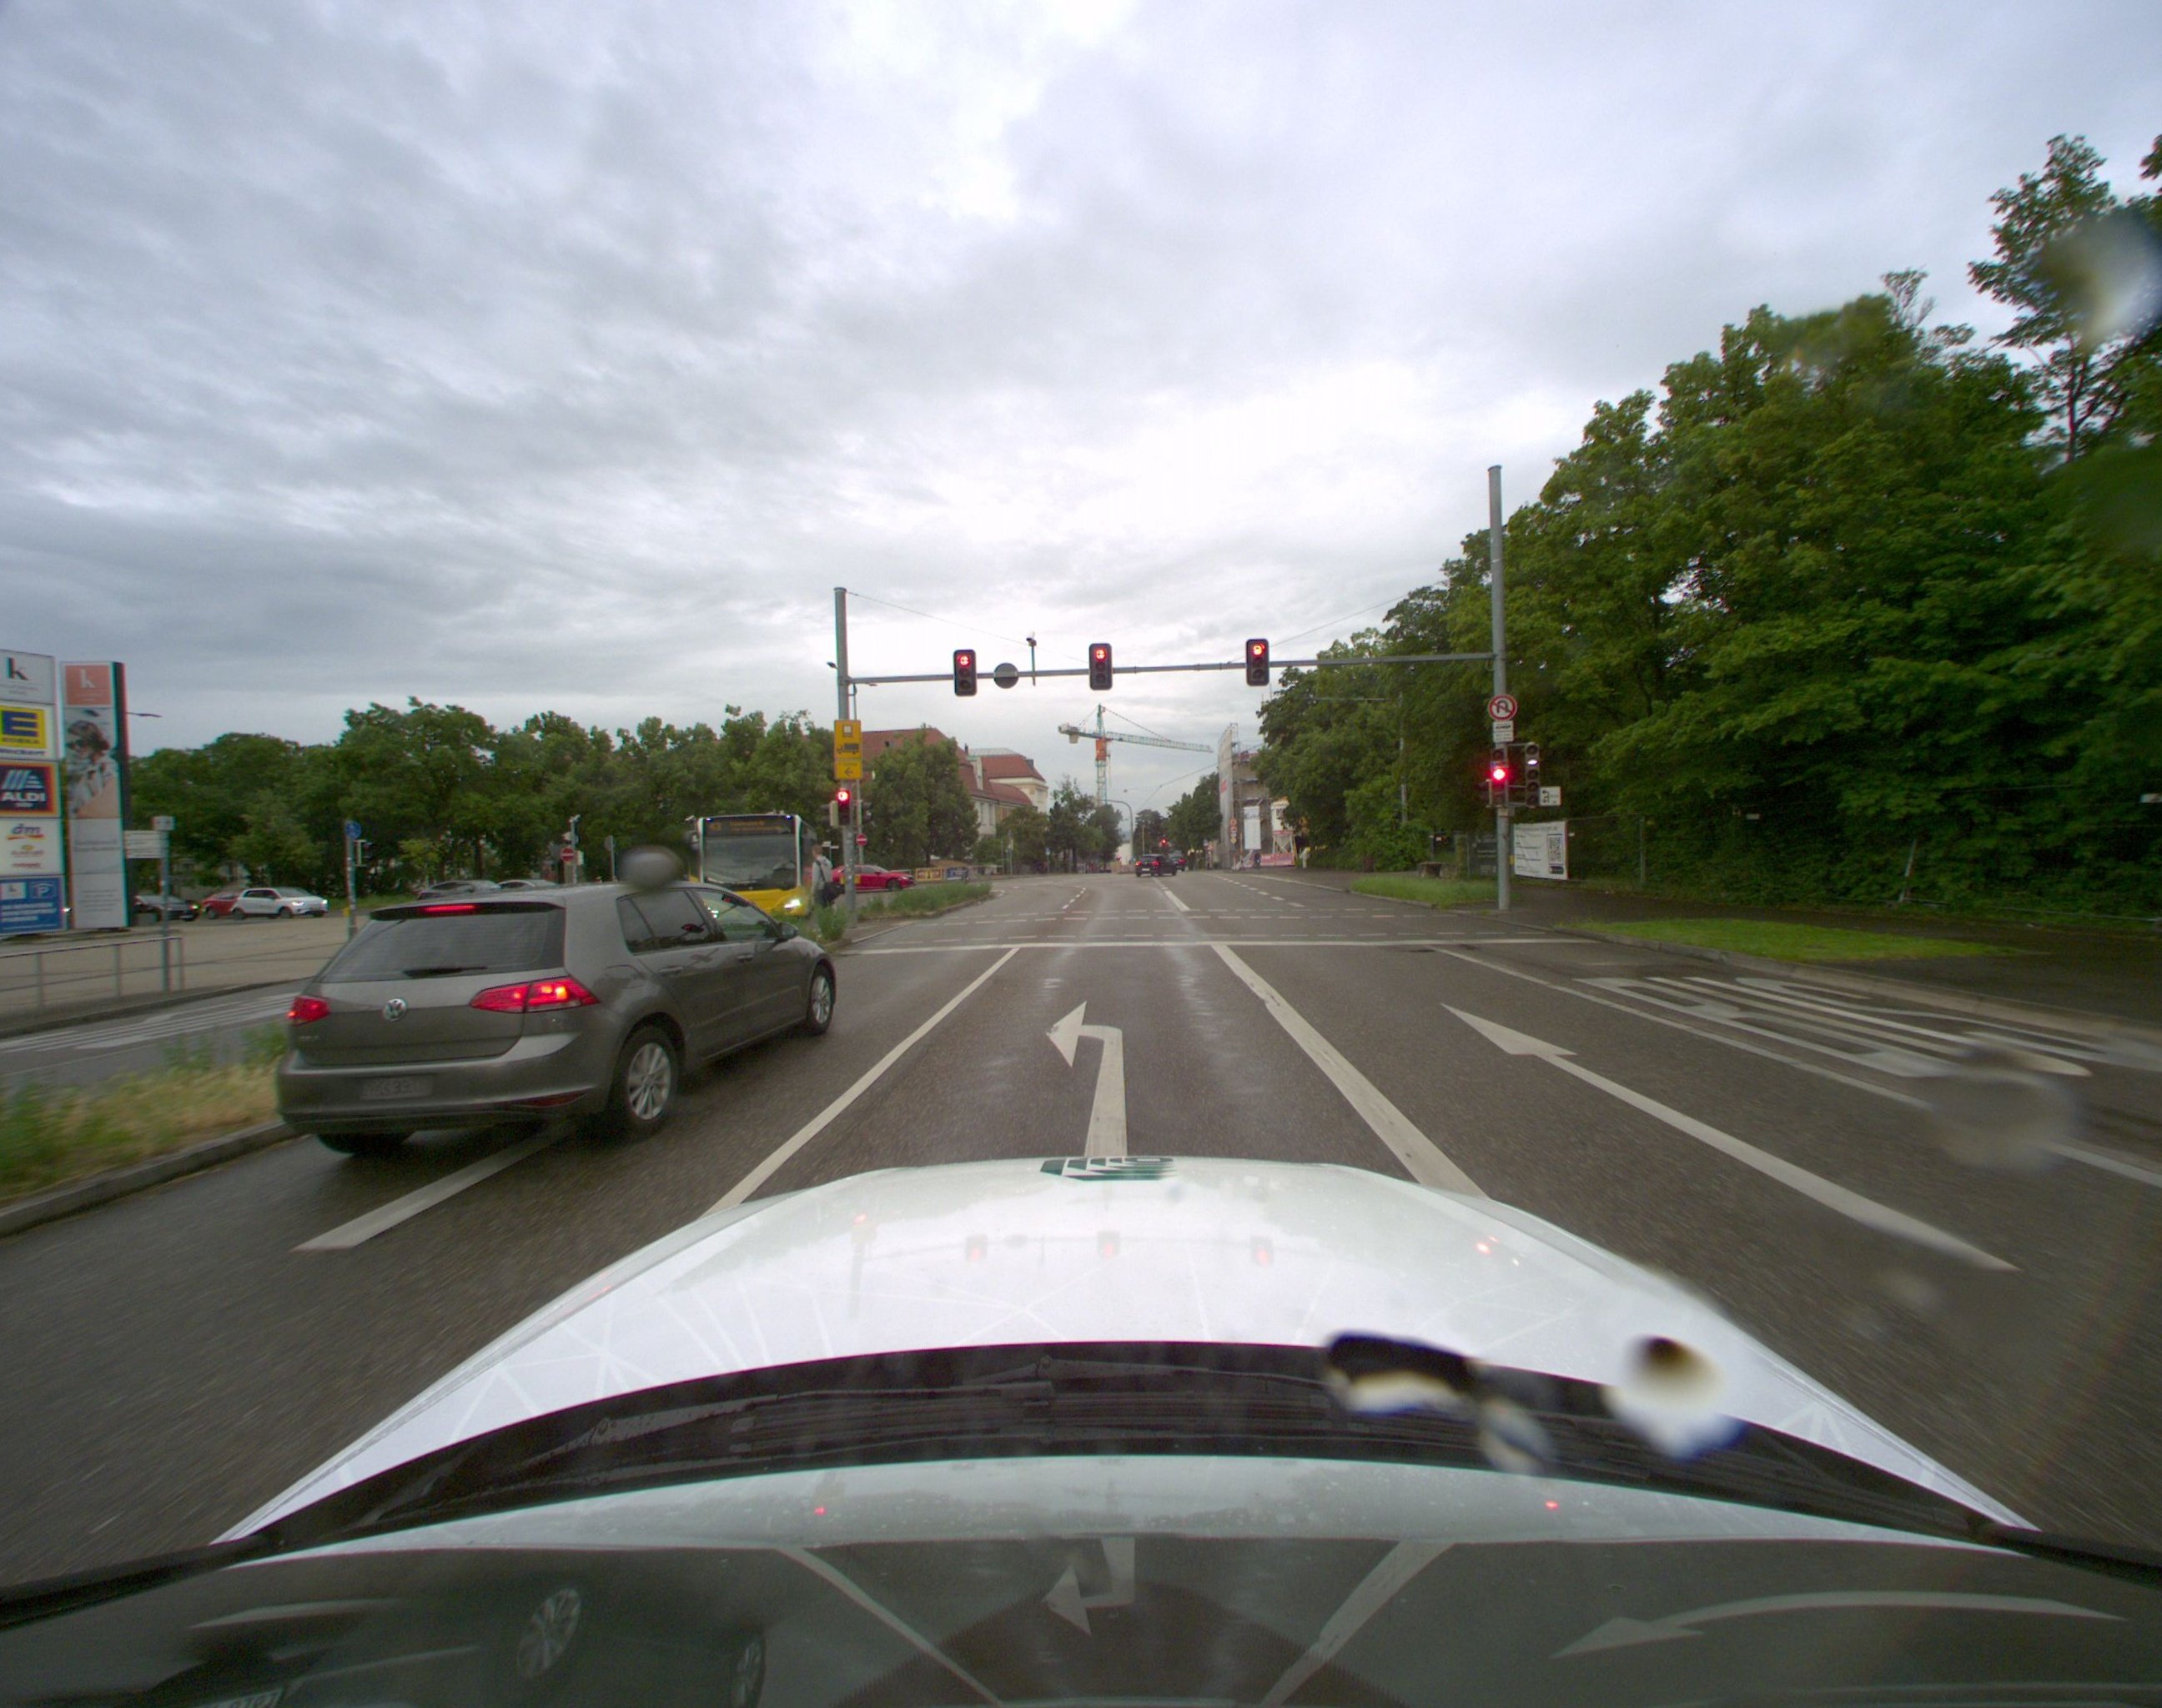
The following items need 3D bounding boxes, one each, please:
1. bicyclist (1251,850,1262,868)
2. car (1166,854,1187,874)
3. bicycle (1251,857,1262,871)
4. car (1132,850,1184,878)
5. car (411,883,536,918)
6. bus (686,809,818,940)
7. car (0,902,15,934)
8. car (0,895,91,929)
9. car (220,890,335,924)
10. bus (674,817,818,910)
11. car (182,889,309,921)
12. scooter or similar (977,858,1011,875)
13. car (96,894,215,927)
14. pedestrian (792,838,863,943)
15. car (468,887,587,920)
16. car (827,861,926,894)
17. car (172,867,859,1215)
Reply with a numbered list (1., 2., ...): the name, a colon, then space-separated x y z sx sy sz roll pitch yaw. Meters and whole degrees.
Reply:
1. bicyclist: 15.320 0.437 71.062 0.717 1.564 1.144 -1 -2 5
2. car: 9.964 1.041 85.386 1.936 2.021 4.554 0 -2 3
3. bicycle: 15.327 0.892 71.024 0.717 1.193 1.758 -1 -2 5
4. car: 5.136 0.692 53.796 1.974 1.706 4.024 -1 -2 29
5. car: -28.779 2.175 38.680 4.429 1.425 2.001 -2 0 1
6. bus: -9.648 0.539 24.656 2.897 3.103 9.693 -2 0 -19
7. car: -51.559 3.019 37.066 3.952 1.425 1.669 -2 0 1
8. car: -53.256 2.933 40.973 4.513 1.530 1.964 -2 0 2
9. car: -39.075 2.563 39.650 3.759 1.425 1.846 -2 0 1
10. bus: -13.870 0.407 33.211 2.913 3.307 8.475 -2 0 -40
11. car: -43.607 2.650 42.561 4.511 1.425 2.000 -2 0 0
12. scooter or similar: -8.191 1.217 76.804 3.076 1.440 0.949 -3 0 1
13. car: -45.940 2.777 40.479 3.759 1.425 1.846 -2 0 1
14. pedestrian: -5.146 0.721 16.589 0.935 2.013 0.849 -5 -1 8
15. car: -28.279 2.505 41.693 4.845 1.425 1.846 -2 0 1
16. car: -10.164 1.152 40.691 4.499 1.425 1.996 -2 0 -6
17. car: -3.207 0.906 5.872 1.798 1.429 4.200 -4 0 2
